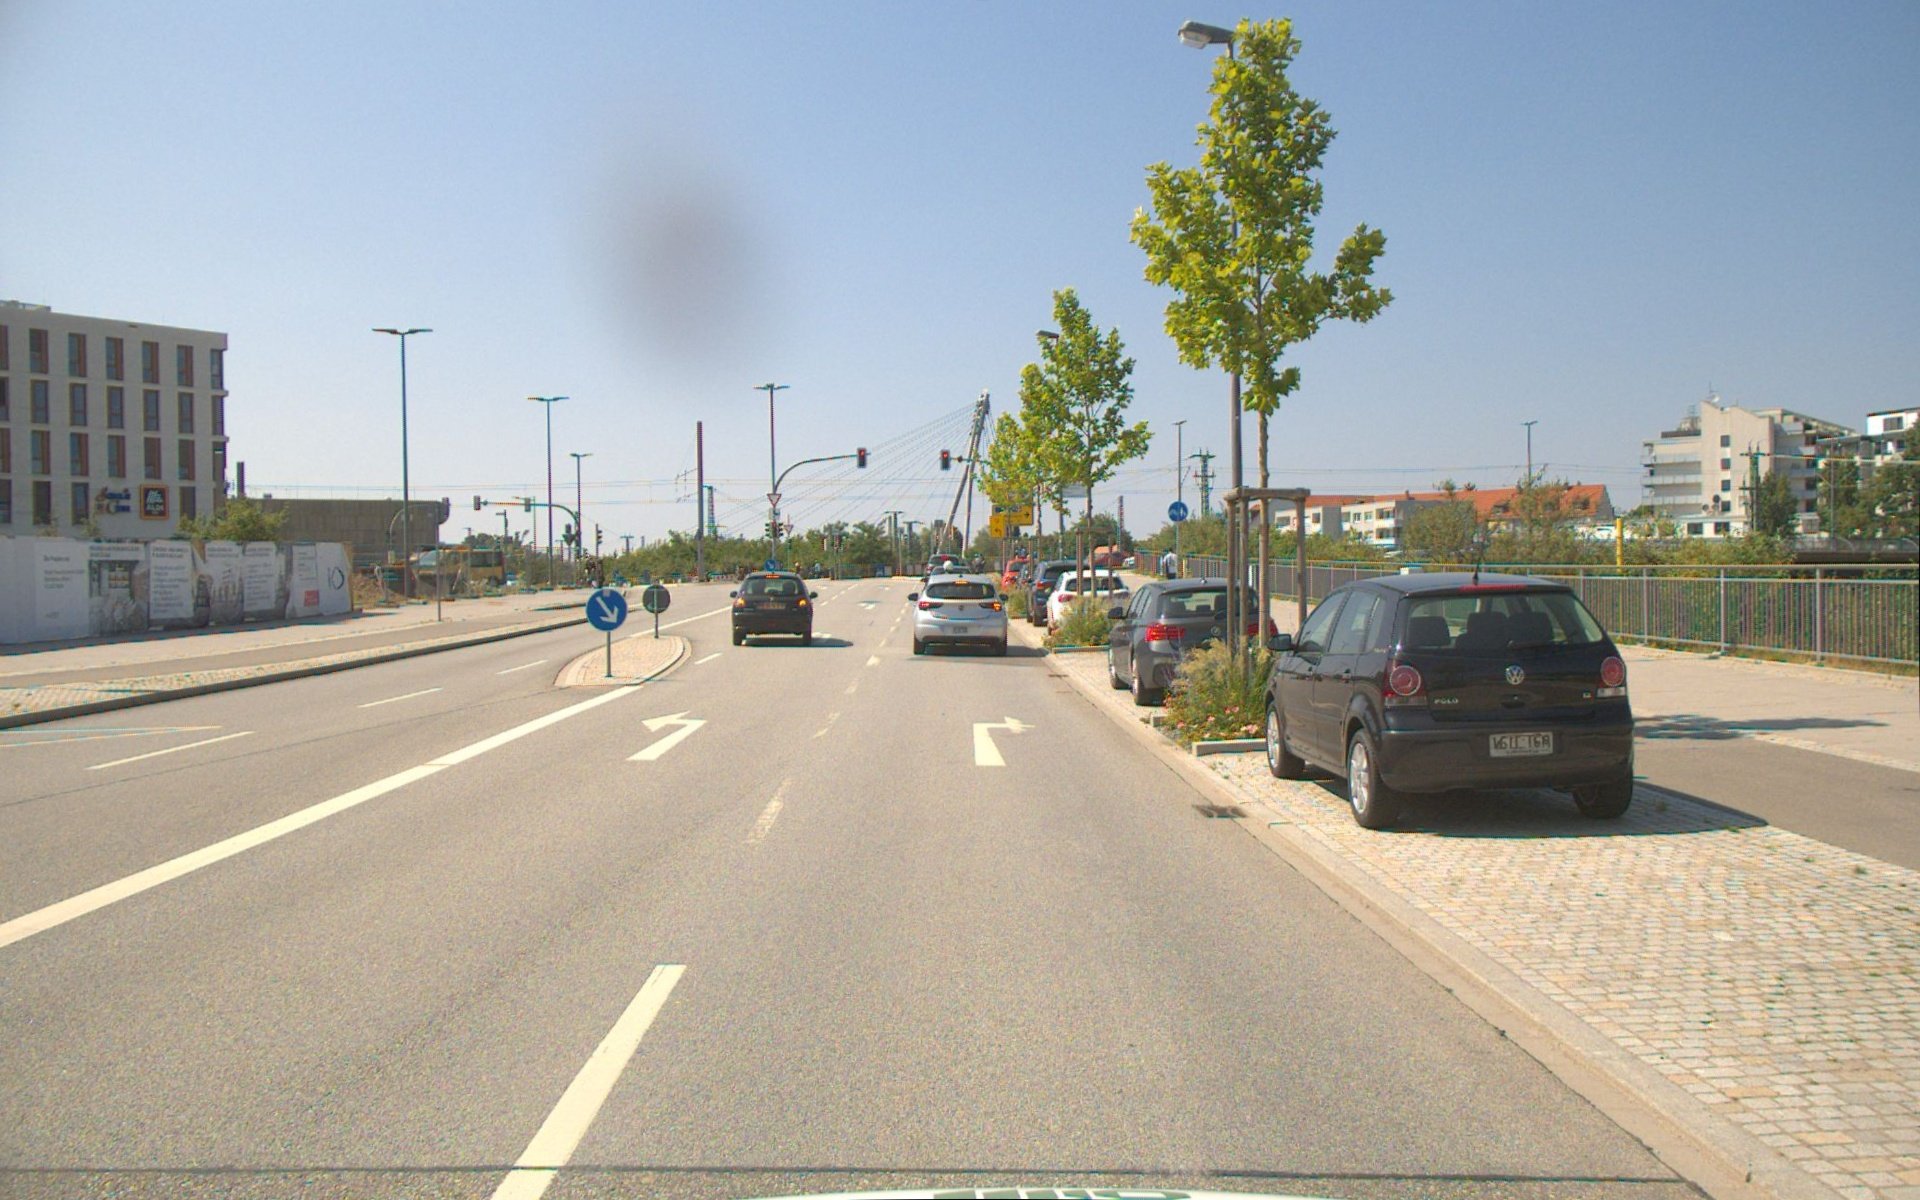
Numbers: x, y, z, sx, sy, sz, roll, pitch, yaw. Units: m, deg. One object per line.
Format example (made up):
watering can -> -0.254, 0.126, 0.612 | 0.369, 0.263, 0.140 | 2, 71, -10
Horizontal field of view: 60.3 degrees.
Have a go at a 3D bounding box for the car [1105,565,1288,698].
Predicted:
car -> 2.843, 0.351, 20.710 | 1.669, 1.426, 4.270 | -2, 0, 0

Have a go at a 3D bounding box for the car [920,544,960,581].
car -> -0.879, -1.727, 74.684 | 1.742, 1.596, 4.000 | -1, 2, -1

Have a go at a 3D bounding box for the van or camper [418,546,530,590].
van or camper -> -22.704, -1.463, 77.425 | 1.964, 1.930, 4.689 | 0, -1, 42

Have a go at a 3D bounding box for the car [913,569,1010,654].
car -> 0.005, 0.169, 31.852 | 1.742, 1.467, 4.000 | 0, 2, -1

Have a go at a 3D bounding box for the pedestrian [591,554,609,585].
pedestrian -> -19.263, -1.623, 88.501 | 0.828, 1.675, 0.827 | 0, 1, -6

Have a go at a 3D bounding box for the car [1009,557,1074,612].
car -> 2.545, -0.509, 52.431 | 1.742, 1.529, 4.000 | -5, 1, -1

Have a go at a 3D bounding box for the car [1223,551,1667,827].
car -> 3.054, 0.508, 11.303 | 1.670, 1.488, 3.952 | -2, 0, -3

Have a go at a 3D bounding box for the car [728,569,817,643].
car -> -3.830, 0.091, 34.244 | 1.587, 1.441, 3.725 | 0, 1, -3

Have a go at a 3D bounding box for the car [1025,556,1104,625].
car -> 2.654, -0.284, 42.816 | 1.785, 1.644, 3.612 | -2, 2, 0

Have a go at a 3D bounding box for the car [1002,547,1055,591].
car -> 2.492, -1.152, 61.070 | 1.742, 1.529, 4.000 | -1, 1, -1

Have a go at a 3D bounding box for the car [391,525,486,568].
car -> -25.188, -2.564, 79.945 | 1.961, 2.049, 3.982 | 1, 1, 38

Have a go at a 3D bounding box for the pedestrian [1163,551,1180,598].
pedestrian -> 7.366, -0.879, 57.619 | 0.522, 1.603, 0.524 | 1, -1, -1

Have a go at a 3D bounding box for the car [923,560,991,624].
car -> -0.099, -0.256, 45.041 | 1.742, 1.596, 4.000 | -1, 2, -1

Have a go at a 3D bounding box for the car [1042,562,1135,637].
car -> 2.761, -0.051, 36.310 | 1.662, 1.501, 4.205 | -2, 1, 0
